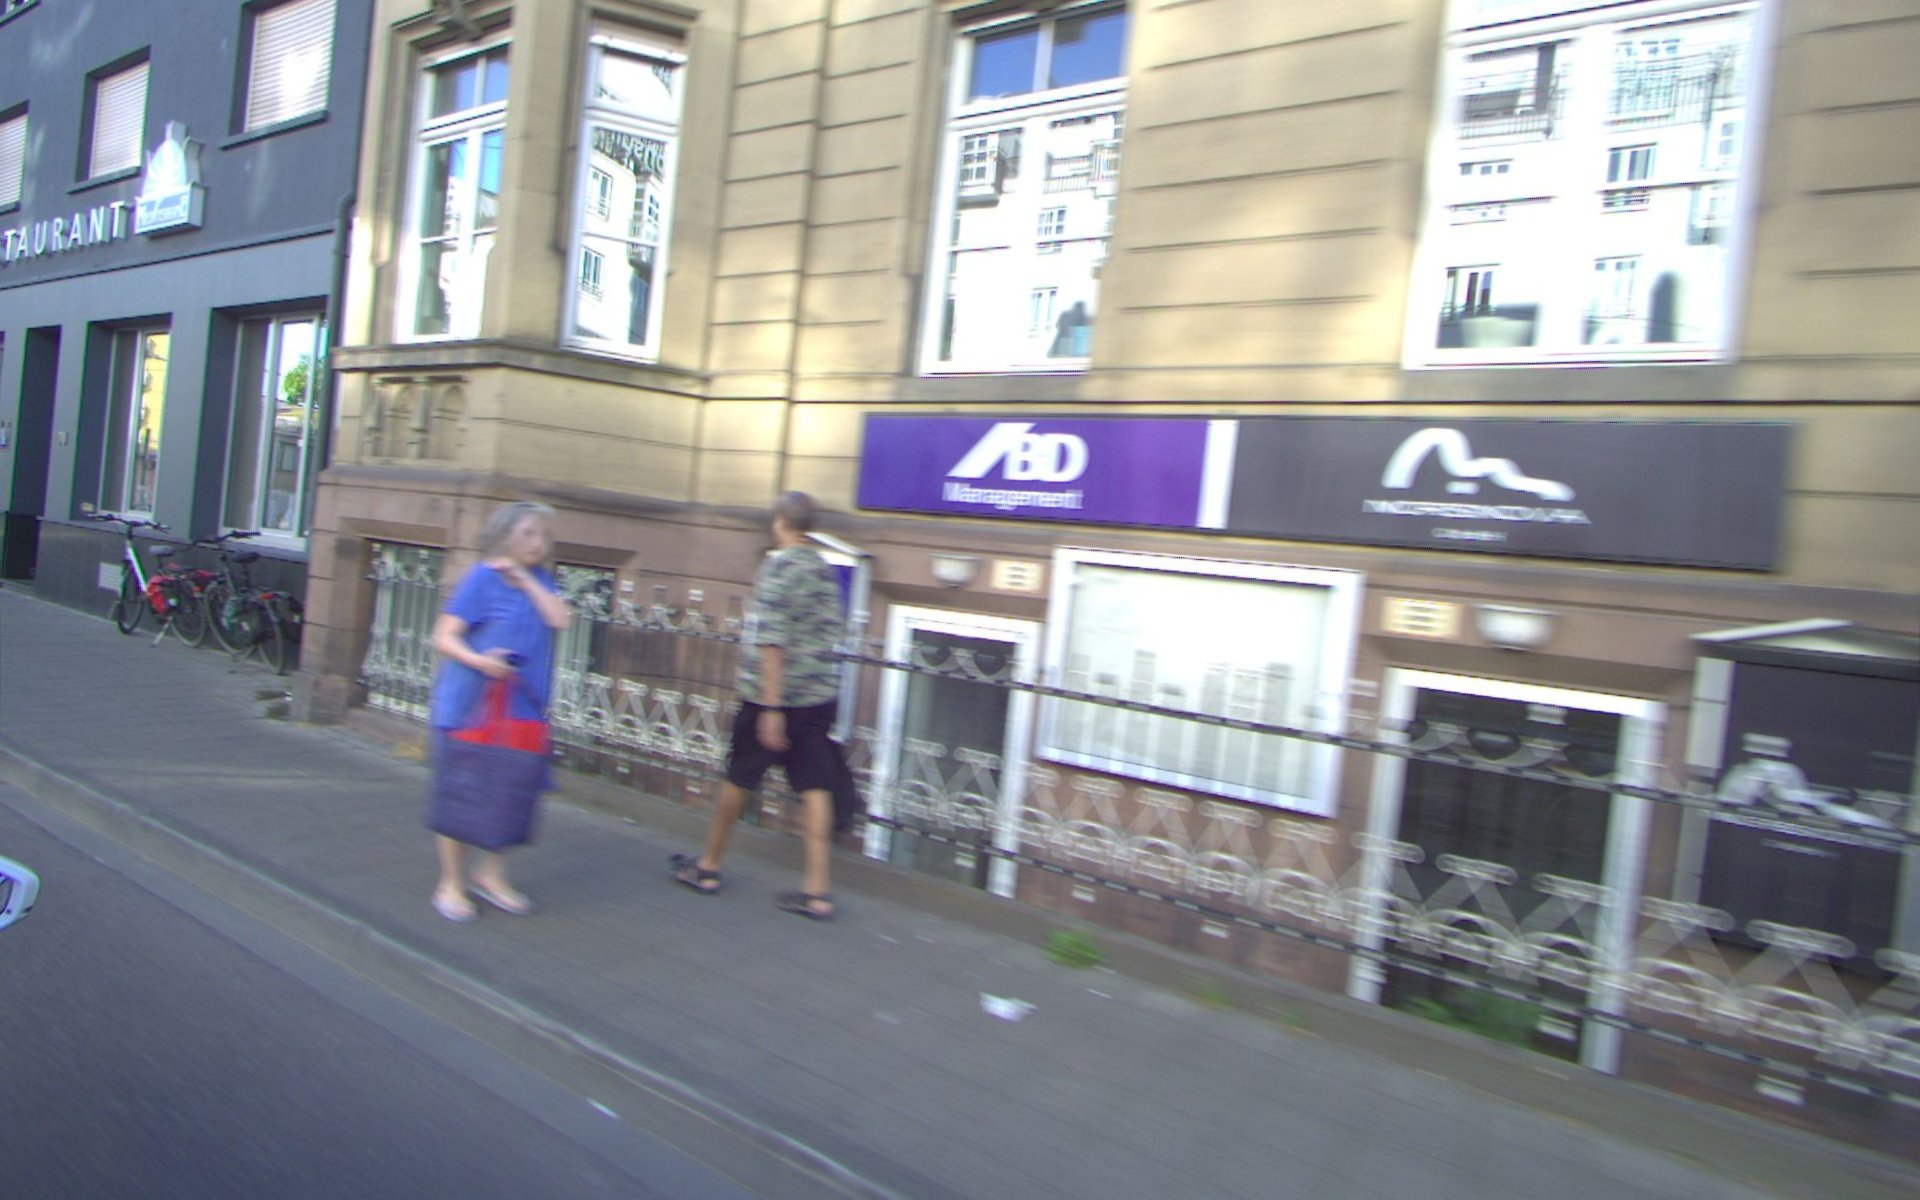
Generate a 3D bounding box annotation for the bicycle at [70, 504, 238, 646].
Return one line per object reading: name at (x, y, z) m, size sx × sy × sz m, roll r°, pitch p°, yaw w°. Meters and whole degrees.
bicycle at (-7.994, -0.262, 9.952) m, size 1.875 × 1.214 × 0.624 m, roll 7°, pitch 3°, yaw 30°

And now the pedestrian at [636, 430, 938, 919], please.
pedestrian at (-0.728, 0.274, 4.337) m, size 0.784 × 1.848 × 0.801 m, roll 7°, pitch 2°, yaw 31°

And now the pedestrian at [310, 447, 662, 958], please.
pedestrian at (-1.789, 0.328, 3.827) m, size 0.818 × 1.667 × 0.763 m, roll 7°, pitch 2°, yaw 31°

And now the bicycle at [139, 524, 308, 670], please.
bicycle at (-6.505, -0.050, 8.852) m, size 1.775 × 1.085 × 0.591 m, roll 7°, pitch 3°, yaw 34°
